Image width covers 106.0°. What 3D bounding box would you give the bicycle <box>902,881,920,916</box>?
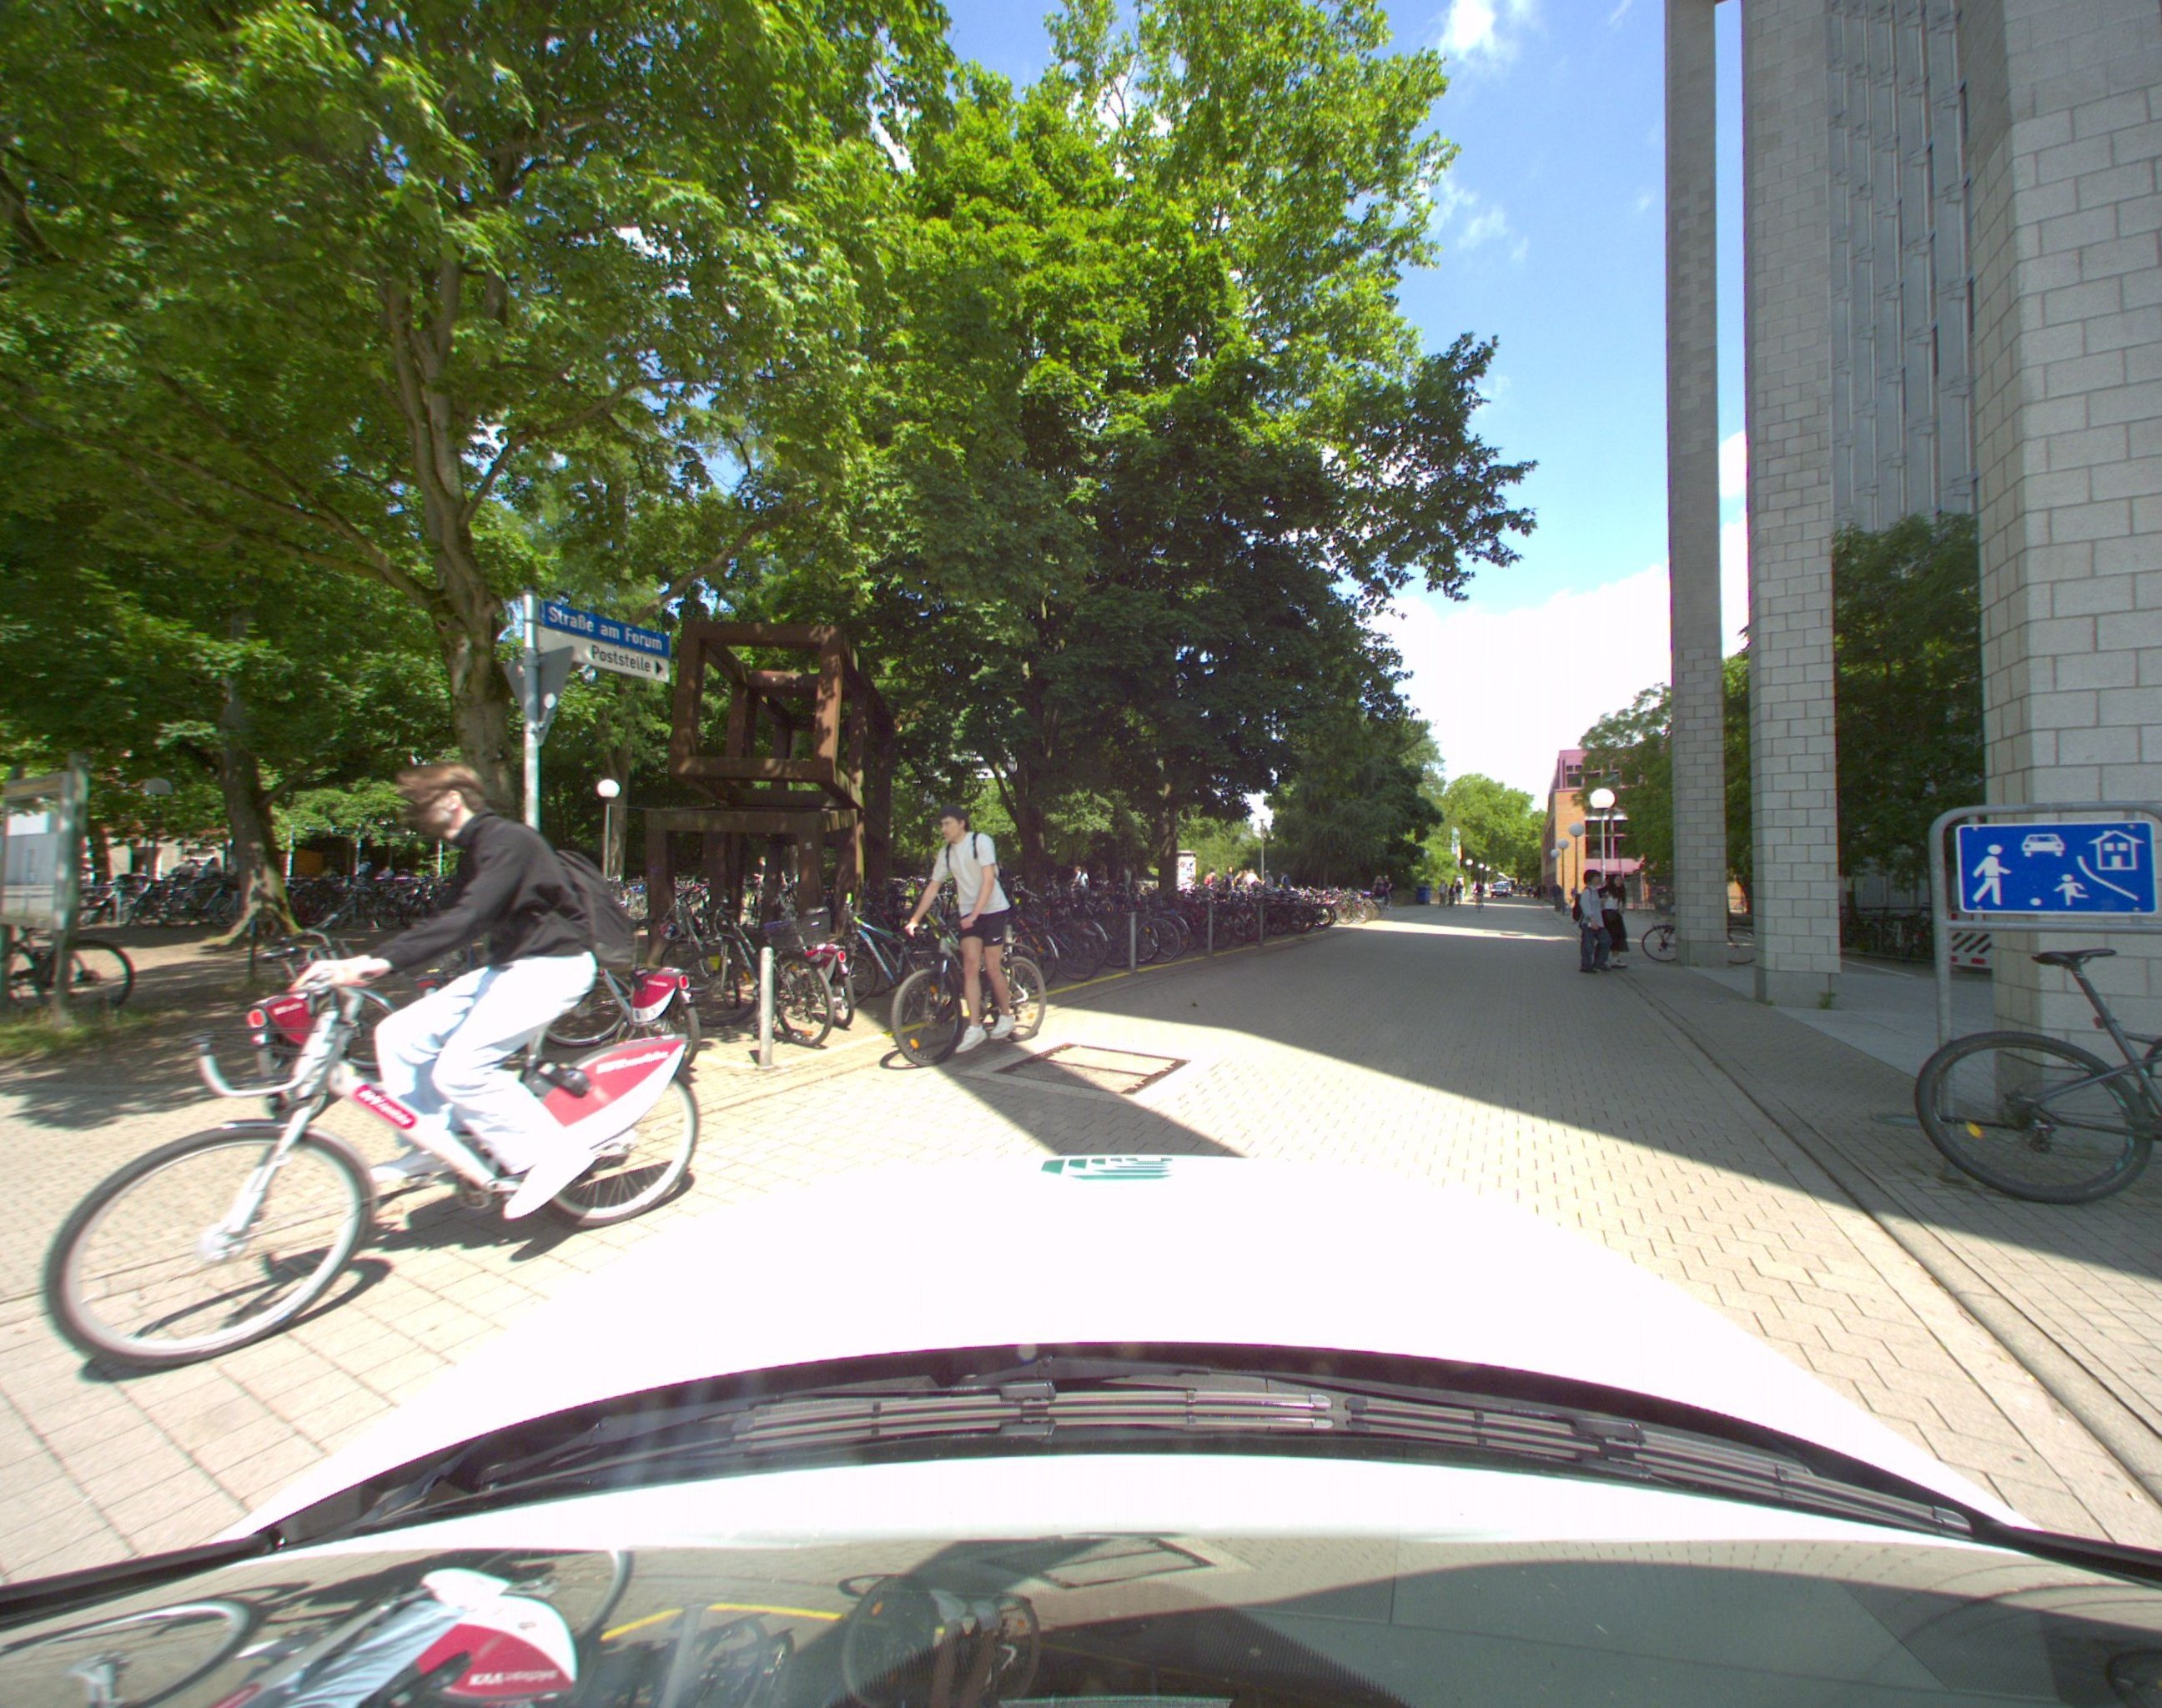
[{"bbox_3d":[-5.507,1.438,26.444,0.472,1.084,1.693,2,-2,-10],"label":"bicycle"}]

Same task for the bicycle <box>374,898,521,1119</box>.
[{"bbox_3d":[-4.049,0.885,5.306,0.592,1.108,1.728,0,0,-33],"label":"bicycle"}]

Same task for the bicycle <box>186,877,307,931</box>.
[{"bbox_3d":[-18.527,1.079,18.149,0.499,1.108,2.031,1,-2,2],"label":"bicycle"}]

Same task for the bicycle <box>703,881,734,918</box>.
[{"bbox_3d":[-11.364,1.408,25.574,0.472,1.084,1.693,2,-2,-10],"label":"bicycle"}]

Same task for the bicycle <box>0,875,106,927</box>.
[{"bbox_3d":[-23.566,1.039,18.412,0.499,1.108,2.031,1,-2,2],"label":"bicycle"}]

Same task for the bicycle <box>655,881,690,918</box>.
[{"bbox_3d":[-12.633,1.389,25.239,0.472,1.084,1.693,2,-2,-10],"label":"bicycle"}]

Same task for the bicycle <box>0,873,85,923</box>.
[{"bbox_3d":[-24.212,0.991,18.521,0.499,1.108,2.031,1,-2,2],"label":"bicycle"}]

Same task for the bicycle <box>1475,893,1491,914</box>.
[{"bbox_3d":[22.351,2.743,45.263,0.764,1.150,2.120,-1,-3,26],"label":"bicycle"}]

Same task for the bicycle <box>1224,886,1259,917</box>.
[{"bbox_3d":[5.904,1.750,30.044,0.474,1.084,1.688,2,-2,-19],"label":"bicycle"}]

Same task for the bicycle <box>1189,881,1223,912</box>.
[{"bbox_3d":[4.532,1.535,29.659,0.474,1.084,1.688,2,-2,-19],"label":"bicycle"}]

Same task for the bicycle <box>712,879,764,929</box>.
[{"bbox_3d":[-7.994,1.143,19.070,0.500,1.108,1.904,1,-2,-4],"label":"bicycle"}]

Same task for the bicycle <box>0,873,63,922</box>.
[{"bbox_3d":[-24.736,0.987,18.517,0.499,1.108,2.031,1,-2,2],"label":"bicycle"}]

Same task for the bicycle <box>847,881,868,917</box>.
[{"bbox_3d":[-7.158,1.430,26.117,0.472,1.084,1.693,2,-2,-10],"label":"bicycle"}]

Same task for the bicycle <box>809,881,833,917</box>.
[{"bbox_3d":[-8.239,1.414,25.862,0.472,1.084,1.693,2,-2,-10],"label":"bicycle"}]

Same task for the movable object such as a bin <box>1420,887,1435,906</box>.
[{"bbox_3d":[25.259,3.089,59.369,0.702,1.336,1.247,2,-1,39],"label":"movable object such as a bin"}]

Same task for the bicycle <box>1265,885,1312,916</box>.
[{"bbox_3d":[7.907,1.766,31.090,1.678,1.110,0.477,0,-2,41],"label":"bicycle"}]

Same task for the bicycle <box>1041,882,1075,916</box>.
[{"bbox_3d":[-0.789,1.517,27.613,0.475,1.084,1.685,2,-2,-26],"label":"bicycle"}]

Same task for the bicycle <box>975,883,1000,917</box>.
[{"bbox_3d":[-3.119,1.523,27.096,0.474,1.084,1.689,2,-2,-18],"label":"bicycle"}]

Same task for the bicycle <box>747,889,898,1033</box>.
[{"bbox_3d":[-2.337,0.890,7.264,1.609,1.108,0.500,-1,0,41],"label":"bicycle"}]

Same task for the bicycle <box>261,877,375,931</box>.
[{"bbox_3d":[-16.811,1.073,18.013,0.499,1.108,2.031,1,-2,2],"label":"bicycle"}]

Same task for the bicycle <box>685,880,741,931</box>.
[{"bbox_3d":[-8.527,1.168,18.946,0.500,1.108,1.904,1,-2,-4],"label":"bicycle"}]

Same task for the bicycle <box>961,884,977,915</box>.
[{"bbox_3d":[-3.667,1.472,26.577,0.450,0.962,1.734,2,-2,-10],"label":"bicycle"}]

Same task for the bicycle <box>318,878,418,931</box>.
[{"bbox_3d":[-15.771,1.089,18.085,0.500,1.108,2.027,1,-2,-4],"label":"bicycle"}]

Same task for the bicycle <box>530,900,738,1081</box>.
[{"bbox_3d":[-3.218,0.911,5.828,1.609,1.108,0.500,-1,0,28],"label":"bicycle"}]

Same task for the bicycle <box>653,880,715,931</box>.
[{"bbox_3d":[-9.206,1.166,18.975,0.500,1.108,1.905,1,-2,-1],"label":"bicycle"}]

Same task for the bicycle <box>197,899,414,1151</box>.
[{"bbox_3d":[-4.557,0.899,4.905,0.642,1.159,1.613,0,0,-33],"label":"bicycle"}]

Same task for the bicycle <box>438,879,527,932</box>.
[{"bbox_3d":[-13.335,1.117,18.214,0.500,1.108,2.004,1,-2,-1],"label":"bicycle"}]

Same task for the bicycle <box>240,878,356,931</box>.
[{"bbox_3d":[-17.344,1.087,18.107,0.499,1.108,2.031,1,-2,2],"label":"bicycle"}]

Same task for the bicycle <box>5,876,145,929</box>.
[{"bbox_3d":[-22.453,1.049,18.242,0.499,1.108,2.031,1,-2,2],"label":"bicycle"}]

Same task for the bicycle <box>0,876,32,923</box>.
[{"bbox_3d":[-25.908,1.063,18.786,0.498,1.108,2.036,1,-2,10],"label":"bicycle"}]

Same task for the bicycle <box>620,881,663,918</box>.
[{"bbox_3d":[-13.613,1.392,25.274,0.472,1.084,1.696,1,-2,-4],"label":"bicycle"}]

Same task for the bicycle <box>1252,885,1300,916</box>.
[{"bbox_3d":[7.249,1.724,30.276,1.678,1.084,0.477,0,-2,39],"label":"bicycle"}]

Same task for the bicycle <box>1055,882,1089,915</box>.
[{"bbox_3d":[-0.321,1.515,27.835,0.475,1.084,1.685,2,-2,-26],"label":"bicycle"}]

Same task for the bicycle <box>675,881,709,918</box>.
[{"bbox_3d":[-12.022,1.387,25.205,0.472,1.084,1.693,2,-2,-10],"label":"bicycle"}]

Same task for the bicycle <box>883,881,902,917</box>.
[{"bbox_3d":[-6.097,1.441,26.376,0.472,1.084,1.693,2,-2,-10],"label":"bicycle"}]

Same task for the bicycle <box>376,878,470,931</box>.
[{"bbox_3d":[-14.630,1.093,18.175,0.500,1.108,2.027,1,-2,-4],"label":"bicycle"}]

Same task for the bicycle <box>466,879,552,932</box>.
[{"bbox_3d":[-12.742,1.129,18.223,0.500,1.108,2.004,1,-2,-1],"label":"bicycle"}]

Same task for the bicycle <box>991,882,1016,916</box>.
[{"bbox_3d":[-2.601,1.488,27.205,0.474,1.084,1.689,2,-2,-18],"label":"bicycle"}]

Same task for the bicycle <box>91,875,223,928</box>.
[{"bbox_3d":[-20.487,1.030,18.132,0.499,1.108,2.031,1,-2,2],"label":"bicycle"}]

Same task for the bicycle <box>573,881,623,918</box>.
[{"bbox_3d":[-14.764,1.369,24.939,0.471,1.084,1.699,1,-2,0],"label":"bicycle"}]

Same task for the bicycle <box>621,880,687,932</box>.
[{"bbox_3d":[-9.739,1.157,18.667,0.500,1.108,1.905,1,-2,-1],"label":"bicycle"}]

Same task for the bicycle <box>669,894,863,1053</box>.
[{"bbox_3d":[-2.525,0.891,6.476,1.609,1.108,0.500,-1,0,28],"label":"bicycle"}]

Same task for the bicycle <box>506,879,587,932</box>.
[{"bbox_3d":[-11.992,1.127,18.358,0.500,1.108,2.004,1,-2,-1],"label":"bicycle"}]

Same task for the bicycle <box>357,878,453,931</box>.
[{"bbox_3d":[-15.005,1.096,18.148,0.500,1.108,2.027,1,-2,-4],"label":"bicycle"}]

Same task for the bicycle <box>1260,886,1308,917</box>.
[{"bbox_3d":[7.617,1.771,30.650,1.702,1.084,0.477,0,-2,39],"label":"bicycle"}]

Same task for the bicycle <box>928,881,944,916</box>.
[{"bbox_3d":[-4.724,1.442,26.558,0.472,1.084,1.693,2,-2,-10],"label":"bicycle"}]

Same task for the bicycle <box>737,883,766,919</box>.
[{"bbox_3d":[-10.368,1.453,25.658,0.472,1.084,1.693,2,-2,-10],"label":"bicycle"}]

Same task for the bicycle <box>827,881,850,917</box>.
[{"bbox_3d":[-7.715,1.414,25.949,0.472,1.084,1.693,2,-2,-10],"label":"bicycle"}]

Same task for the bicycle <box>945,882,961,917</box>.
[{"bbox_3d":[-4.163,1.456,26.482,0.472,1.084,1.693,2,-2,-10],"label":"bicycle"}]

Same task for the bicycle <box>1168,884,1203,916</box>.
[{"bbox_3d":[3.763,1.641,29.418,0.474,1.084,1.686,2,-2,-23],"label":"bicycle"}]

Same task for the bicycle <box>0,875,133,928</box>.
[{"bbox_3d":[-22.836,1.036,18.337,0.499,1.108,2.031,1,-2,2],"label":"bicycle"}]

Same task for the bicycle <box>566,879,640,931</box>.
[{"bbox_3d":[-10.915,1.144,18.691,0.500,1.108,2.004,1,-2,-1],"label":"bicycle"}]

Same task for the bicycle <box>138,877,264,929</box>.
[{"bbox_3d":[-19.664,1.068,18.274,0.499,1.108,2.031,1,-2,2],"label":"bicycle"}]

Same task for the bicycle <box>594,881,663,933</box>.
[{"bbox_3d":[-10.379,1.189,18.752,0.500,1.108,1.905,1,-2,-1],"label":"bicycle"}]

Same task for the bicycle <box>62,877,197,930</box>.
[{"bbox_3d":[-21.116,1.074,18.143,0.499,1.108,2.031,1,-2,2],"label":"bicycle"}]

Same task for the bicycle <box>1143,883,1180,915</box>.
[{"bbox_3d":[2.840,1.568,28.833,0.475,1.084,1.685,2,-2,-26],"label":"bicycle"}]
